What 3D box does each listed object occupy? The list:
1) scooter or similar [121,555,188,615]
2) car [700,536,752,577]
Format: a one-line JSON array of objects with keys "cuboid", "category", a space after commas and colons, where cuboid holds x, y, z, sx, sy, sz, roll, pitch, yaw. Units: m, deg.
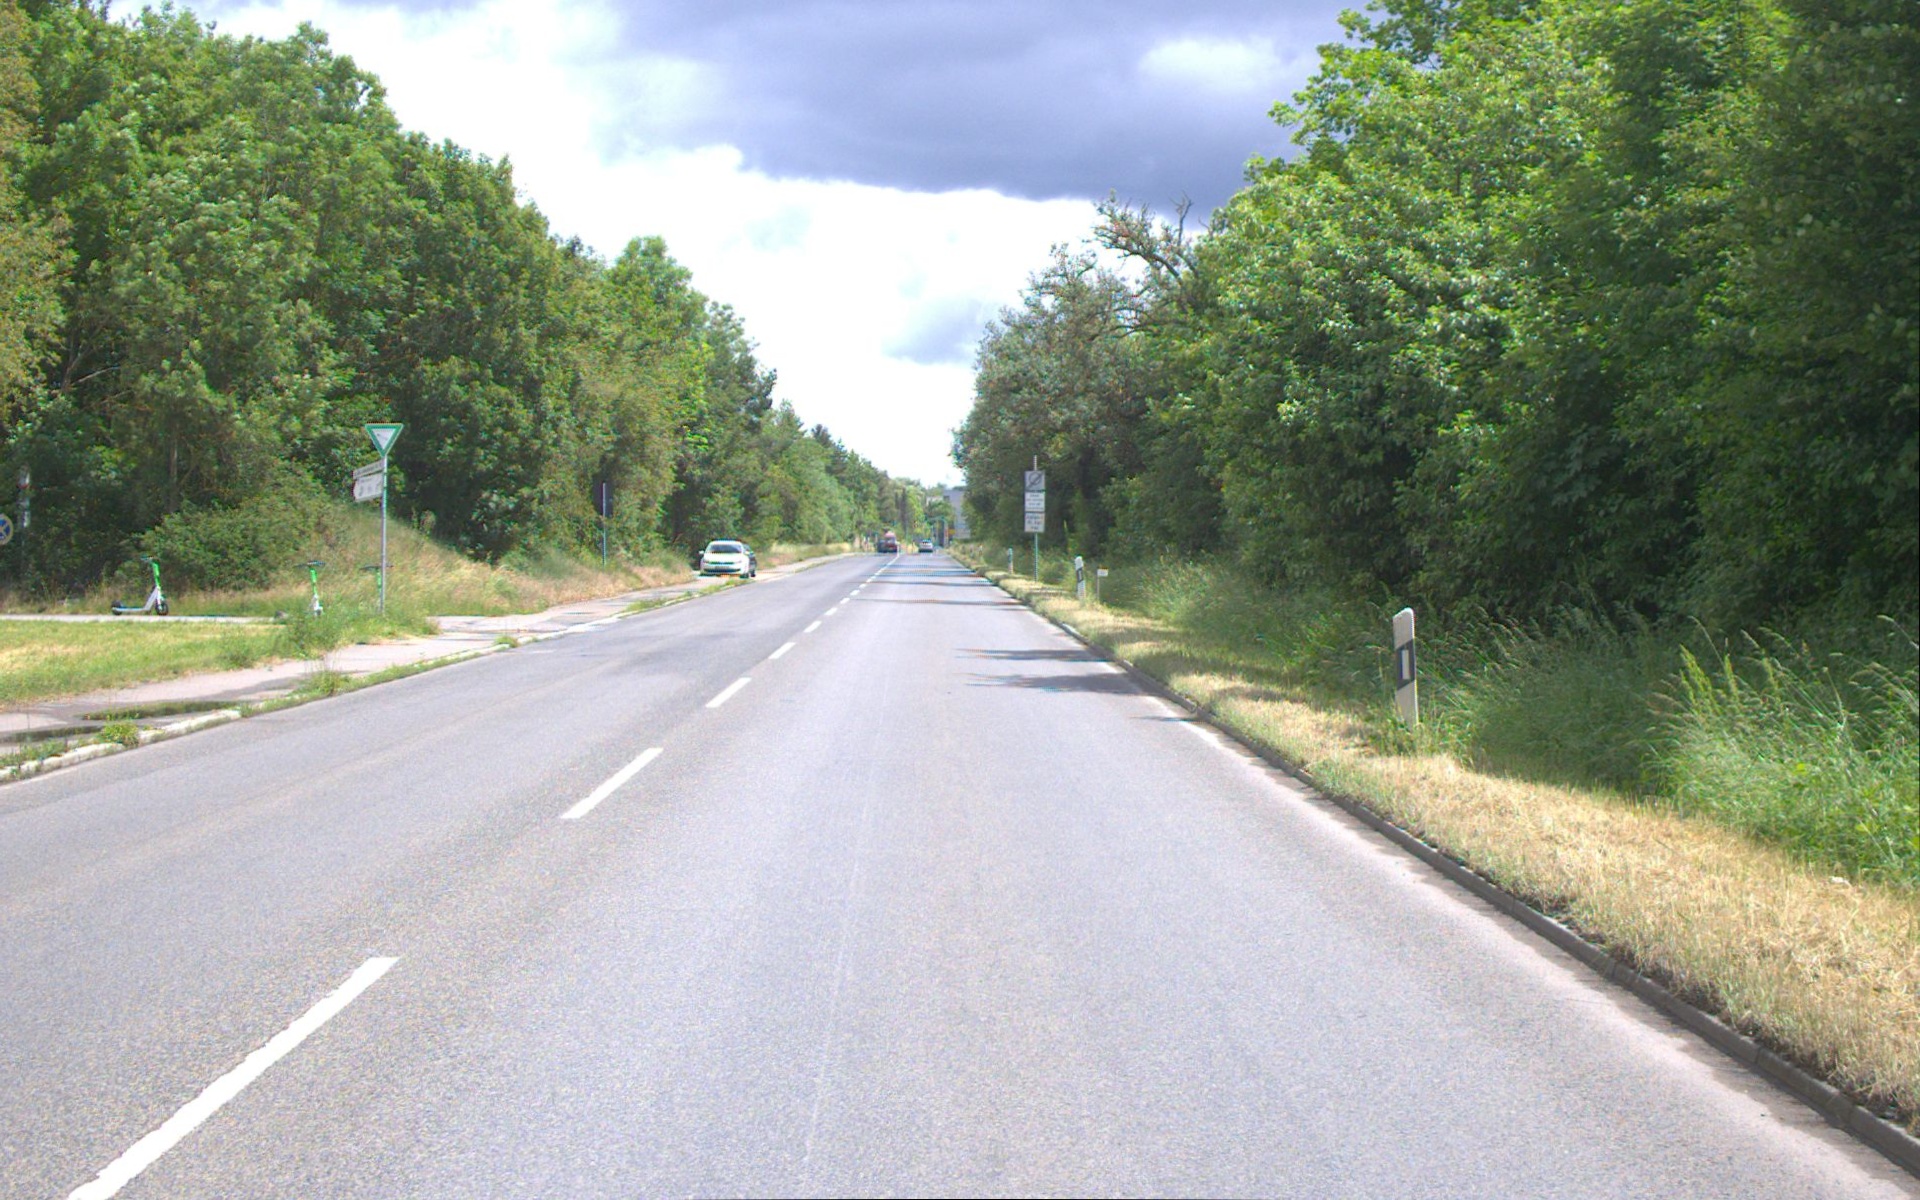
[{"cuboid": [-15.873, -0.296, 67.758, 1.244, 1.164, 0.407, 1, 1, 13], "category": "scooter or similar"}, {"cuboid": [-9.225, -1.703, 135.511, 1.798, 1.538, 3.955, 0, 0, 0], "category": "car"}]
